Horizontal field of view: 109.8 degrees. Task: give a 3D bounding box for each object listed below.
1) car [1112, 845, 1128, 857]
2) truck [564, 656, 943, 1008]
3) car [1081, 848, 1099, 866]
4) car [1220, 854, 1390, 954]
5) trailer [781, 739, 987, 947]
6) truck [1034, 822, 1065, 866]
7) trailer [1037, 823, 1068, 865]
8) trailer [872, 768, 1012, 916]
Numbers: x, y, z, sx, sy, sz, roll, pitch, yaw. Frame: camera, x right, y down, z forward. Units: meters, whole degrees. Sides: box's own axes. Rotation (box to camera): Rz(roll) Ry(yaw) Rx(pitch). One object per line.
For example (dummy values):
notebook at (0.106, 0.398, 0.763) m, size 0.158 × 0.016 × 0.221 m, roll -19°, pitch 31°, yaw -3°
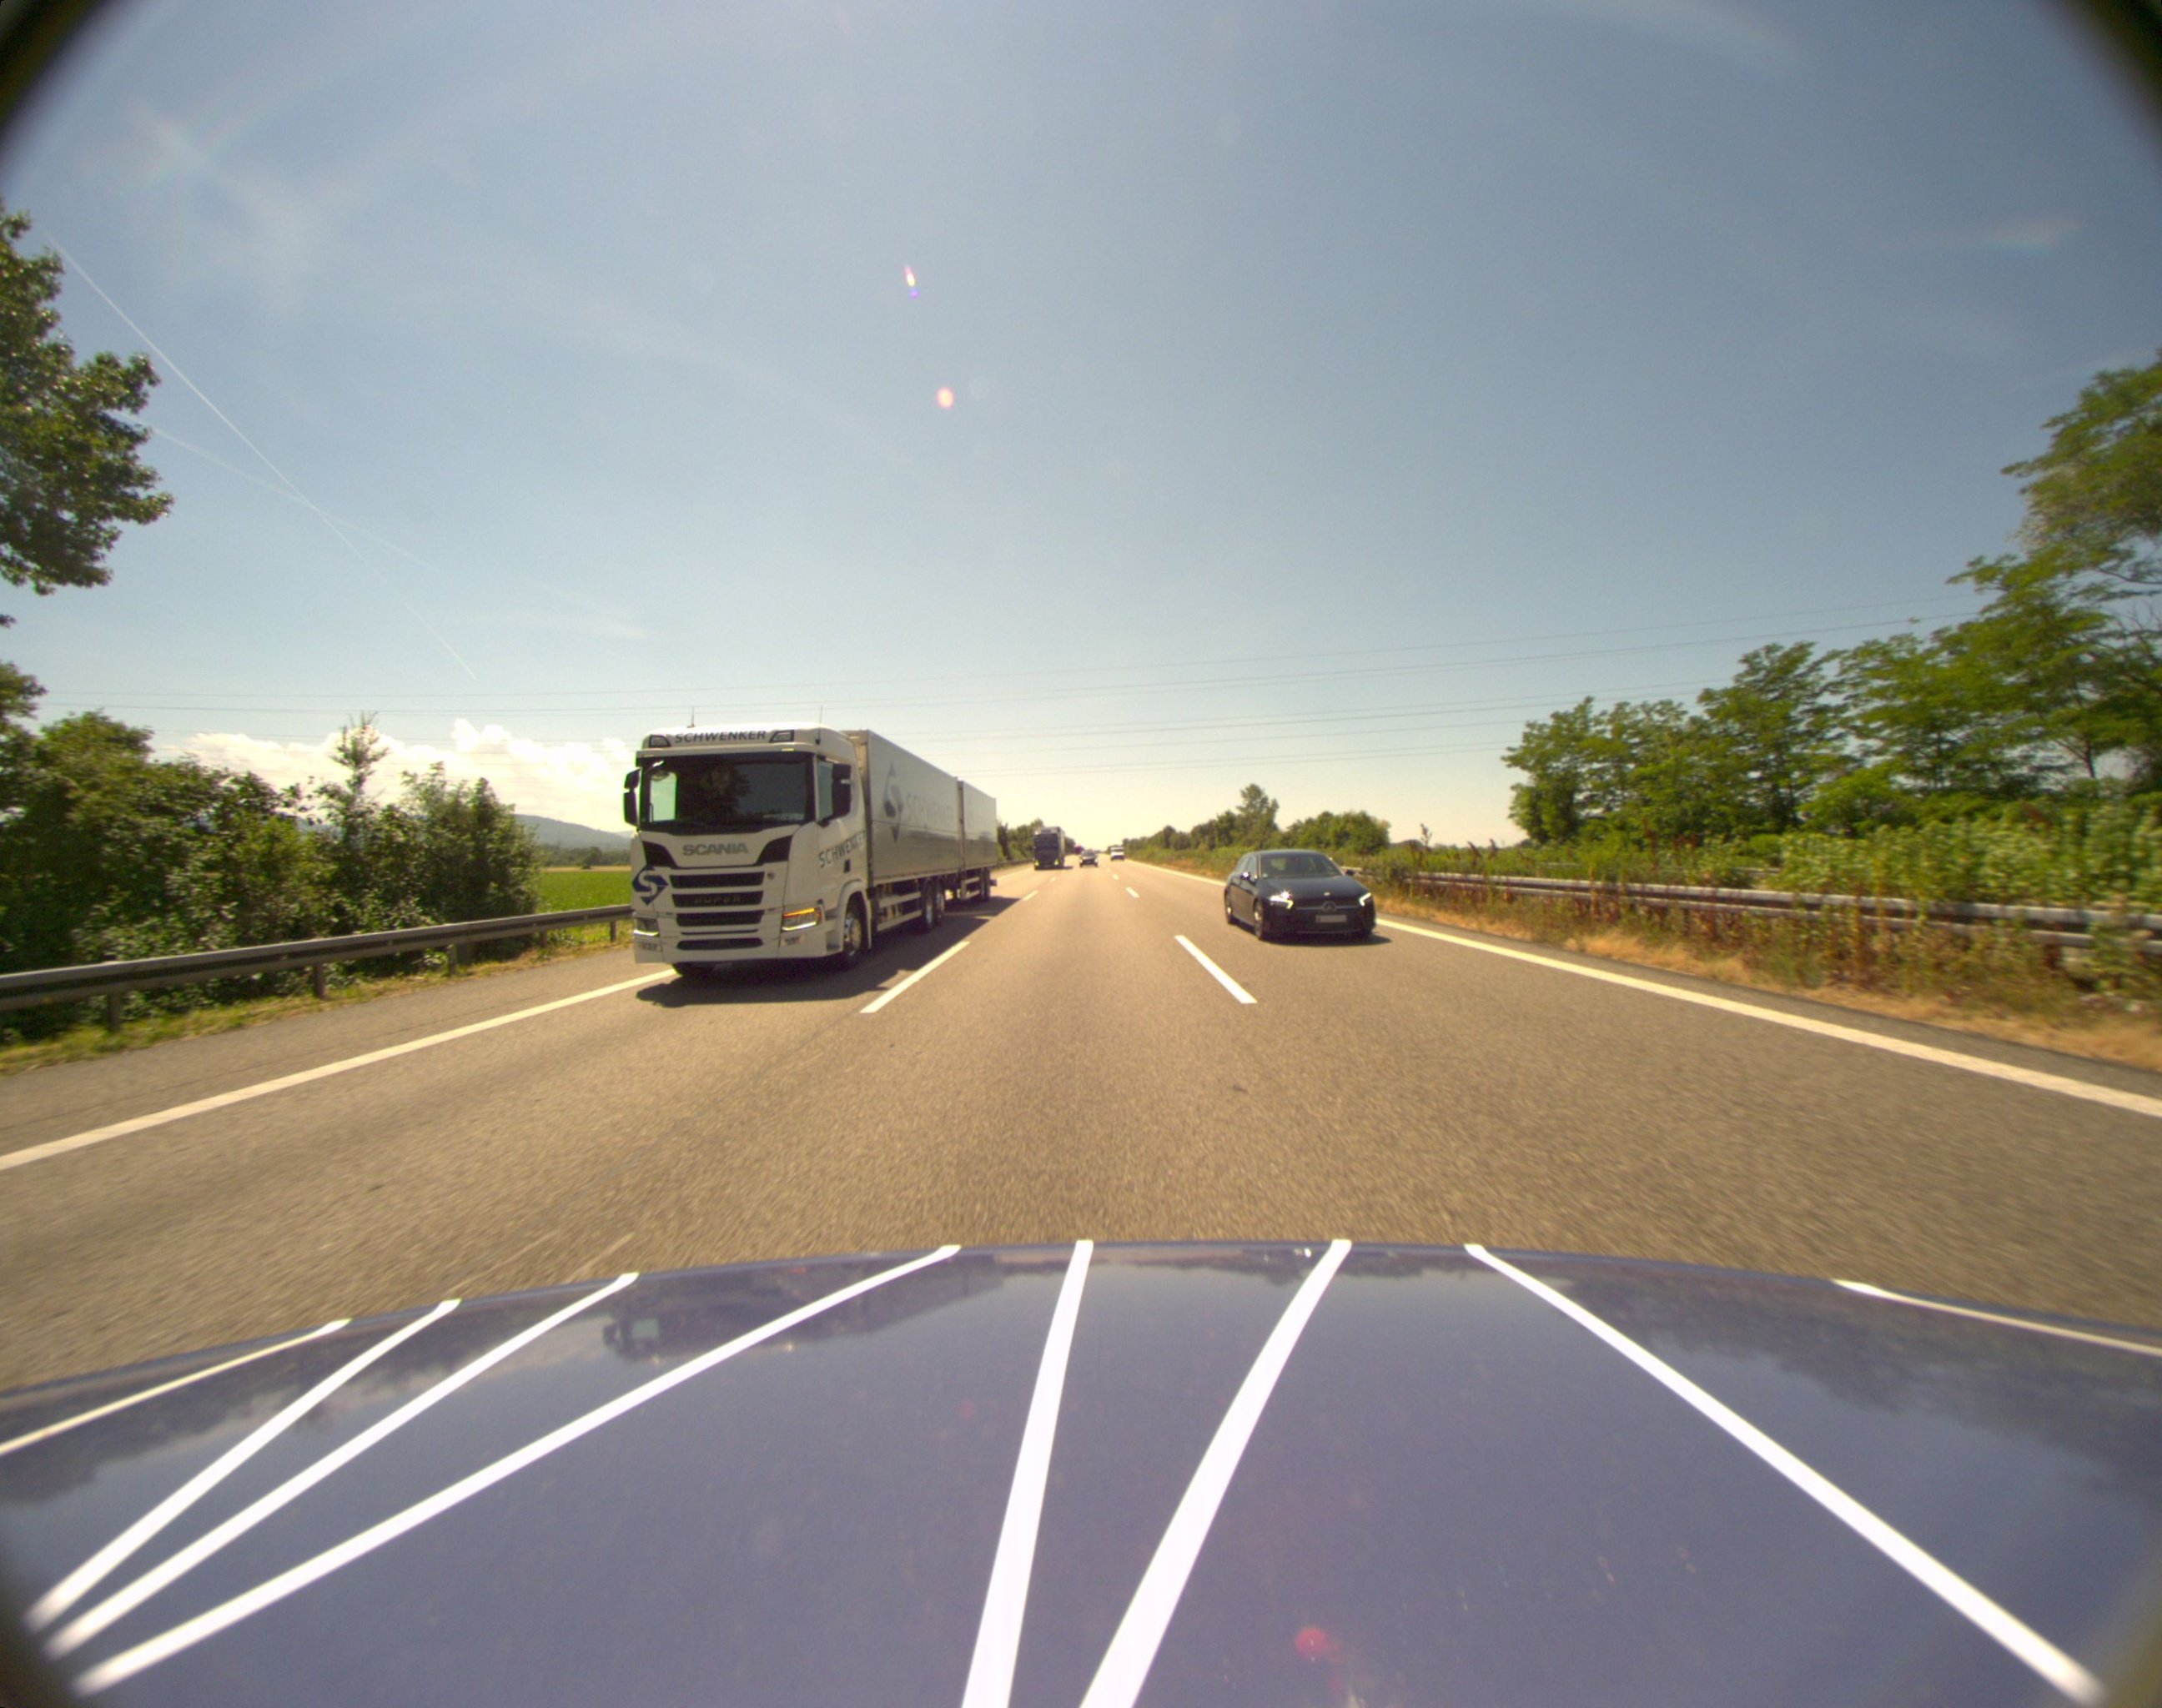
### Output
car at (5.861, -0.453, 114.955) m, size 2.147 × 1.810 × 5.267 m, roll -2°, pitch 1°, yaw 1°
truck at (-4.458, -0.285, 12.346) m, size 2.896 × 4.007 × 6.869 m, roll -2°, pitch 1°, yaw 1°
car at (0.893, 0.301, 77.336) m, size 1.796 × 1.696 × 4.000 m, roll 0°, pitch 1°, yaw 1°
car at (3.696, 0.748, 13.311) m, size 1.796 × 1.403 × 4.052 m, roll -2°, pitch 0°, yaw 1°
trailer at (-4.367, -0.269, 18.773) m, size 2.927 × 4.018 × 7.316 m, roll -2°, pitch 1°, yaw 1°
truck at (-2.978, -0.970, 73.054) m, size 2.559 × 3.932 × 6.513 m, roll -2°, pitch 1°, yaw 1°
trailer at (-2.874, -1.029, 80.395) m, size 2.559 × 3.932 × 13.537 m, roll -2°, pitch 1°, yaw 1°
trailer at (-4.296, -0.387, 25.506) m, size 2.952 × 4.039 × 8.127 m, roll -2°, pitch 1°, yaw 1°
